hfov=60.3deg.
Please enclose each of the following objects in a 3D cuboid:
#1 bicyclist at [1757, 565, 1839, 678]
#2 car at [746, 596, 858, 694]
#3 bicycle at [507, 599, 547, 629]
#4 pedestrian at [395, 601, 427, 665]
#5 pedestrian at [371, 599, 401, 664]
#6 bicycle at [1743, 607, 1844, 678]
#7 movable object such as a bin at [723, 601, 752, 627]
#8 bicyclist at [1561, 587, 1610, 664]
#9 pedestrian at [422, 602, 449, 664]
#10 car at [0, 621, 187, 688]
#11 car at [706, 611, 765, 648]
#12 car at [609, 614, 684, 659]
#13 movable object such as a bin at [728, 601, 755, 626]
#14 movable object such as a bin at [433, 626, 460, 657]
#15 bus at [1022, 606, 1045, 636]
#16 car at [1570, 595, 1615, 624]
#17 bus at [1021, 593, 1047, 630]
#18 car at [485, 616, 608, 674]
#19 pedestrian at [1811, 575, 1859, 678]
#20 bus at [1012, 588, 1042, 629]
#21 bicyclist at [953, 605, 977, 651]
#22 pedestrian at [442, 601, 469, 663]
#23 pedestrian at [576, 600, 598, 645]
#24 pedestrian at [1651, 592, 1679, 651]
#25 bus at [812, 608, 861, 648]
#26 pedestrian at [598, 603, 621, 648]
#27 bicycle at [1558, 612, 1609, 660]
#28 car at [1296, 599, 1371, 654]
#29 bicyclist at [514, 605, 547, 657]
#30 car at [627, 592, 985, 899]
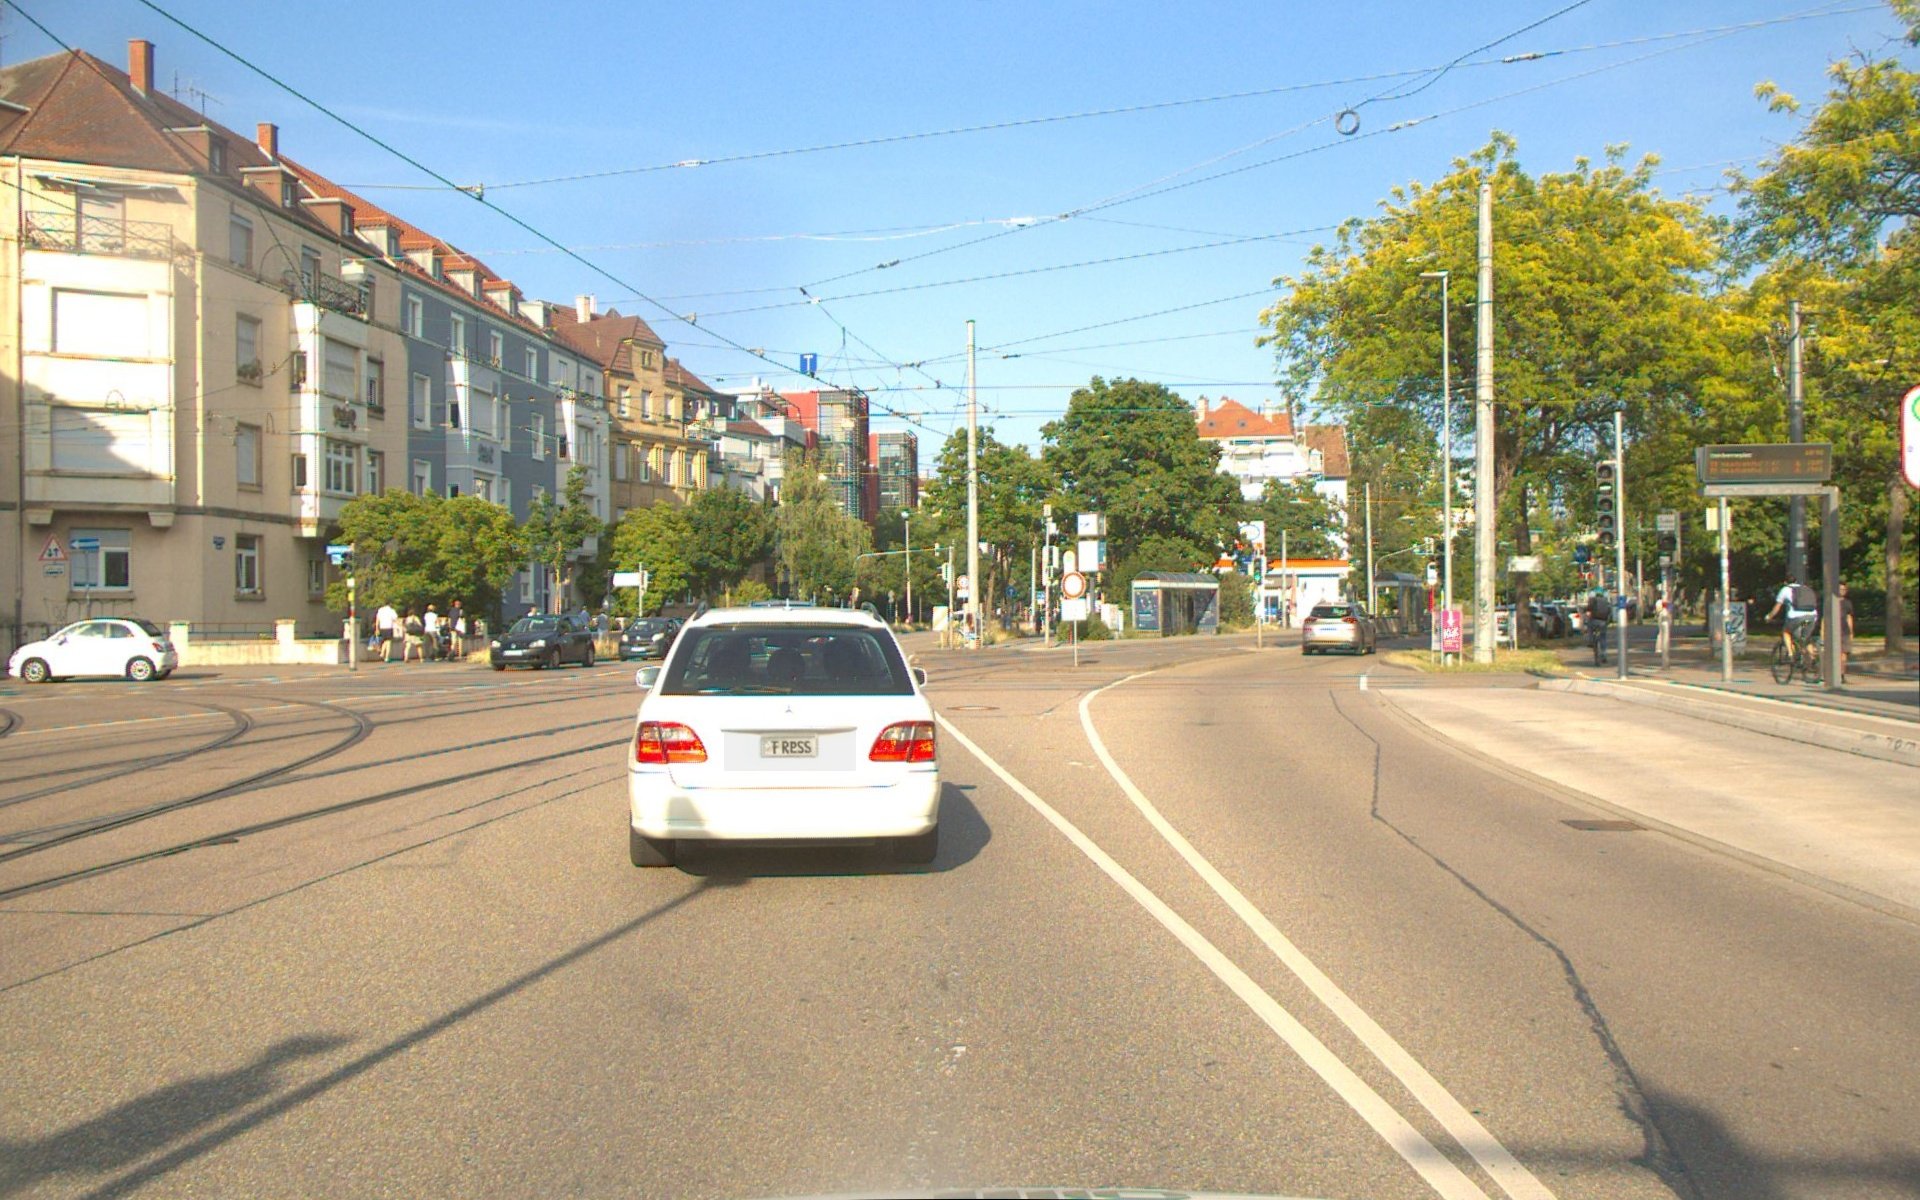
[{"bbox_3d":[13.763,0.352,27.200,0.636,1.776,1.140,-4,-1,-1],"label":"bicyclist"},{"bbox_3d":[-2.780,0.769,29.774,1.608,1.628,3.815,1,-1,0],"label":"car"},{"bbox_3d":[-14.477,0.455,55.390,0.753,0.982,2.034,-1,0,2],"label":"bicycle"},{"bbox_3d":[-16.397,0.983,49.378,0.660,1.880,0.650,-1,0,8],"label":"pedestrian"},{"bbox_3d":[-17.087,0.941,49.243,0.645,1.914,0.627,-1,0,4],"label":"pedestrian"},{"bbox_3d":[13.827,0.698,27.489,0.627,1.107,1.940,-3,-1,0],"label":"bicycle"},{"bbox_3d":[-12.726,0.781,94.690,1.572,1.446,1.083,-1,0,-7],"label":"movable object such as a bin"},{"bbox_3d":[15.028,0.612,39.770,0.705,1.776,1.141,-4,-1,4],"label":"bicyclist"},{"bbox_3d":[-16.378,1.022,51.644,0.572,1.914,0.627,-1,0,4],"label":"pedestrian"},{"bbox_3d":[-20.812,1.277,39.506,3.917,1.482,1.794,-1,0,-12],"label":"car"},{"bbox_3d":[-9.471,1.221,70.059,1.653,1.466,4.002,-1,0,4],"label":"car"},{"bbox_3d":[-10.596,1.214,56.069,1.600,1.458,3.630,-1,0,4],"label":"car"},{"bbox_3d":[-12.659,0.771,95.958,1.504,1.446,1.083,-1,0,-7],"label":"movable object such as a bin"},{"bbox_3d":[-16.300,1.327,52.540,0.570,0.963,0.663,-1,-1,10],"label":"movable object such as a bin"},{"bbox_3d":[5.986,1.699,134.530,1.760,2.374,4.000,2,-1,1],"label":"bus"},{"bbox_3d":[35.522,0.521,92.817,1.818,1.542,3.993,-3,-1,29],"label":"car"},{"bbox_3d":[5.291,0.860,118.929,1.760,2.600,4.001,2,-1,2],"label":"bus"},{"bbox_3d":[-11.085,1.178,44.595,1.729,1.458,4.003,-1,0,10],"label":"car"},{"bbox_3d":[15.588,0.469,29.478,0.565,1.808,0.588,1,-1,9],"label":"pedestrian"},{"bbox_3d":[4.223,0.553,104.246,1.760,2.455,4.000,2,-1,2],"label":"bus"},{"bbox_3d":[0.193,1.076,63.364,0.881,1.728,0.732,-2,-1,1],"label":"bicyclist"},{"bbox_3d":[-15.793,1.001,51.799,0.572,1.914,0.627,-1,0,6],"label":"pedestrian"},{"bbox_3d":[-14.950,0.899,66.327,0.625,1.781,0.912,-1,-1,3],"label":"pedestrian"},{"bbox_3d":[20.367,0.611,47.775,0.627,1.694,0.691,-1,-1,16],"label":"pedestrian"},{"bbox_3d":[-5.406,1.203,72.962,1.806,1.665,4.159,-1,0,0],"label":"bus"},{"bbox_3d":[-14.034,1.029,66.236,0.625,1.781,0.912,-1,-1,3],"label":"pedestrian"},{"bbox_3d":[15.059,0.855,39.985,0.627,1.107,1.734,-3,-1,4],"label":"bicycle"},{"bbox_3d":[11.878,0.829,52.411,1.797,1.628,3.815,1,-1,21],"label":"car"},{"bbox_3d":[-14.449,1.032,55.679,0.744,1.697,1.167,-1,0,1],"label":"bicyclist"},{"bbox_3d":[-1.130,0.749,10.290,1.803,1.528,3.804,1,-1,-11],"label":"car"}]
